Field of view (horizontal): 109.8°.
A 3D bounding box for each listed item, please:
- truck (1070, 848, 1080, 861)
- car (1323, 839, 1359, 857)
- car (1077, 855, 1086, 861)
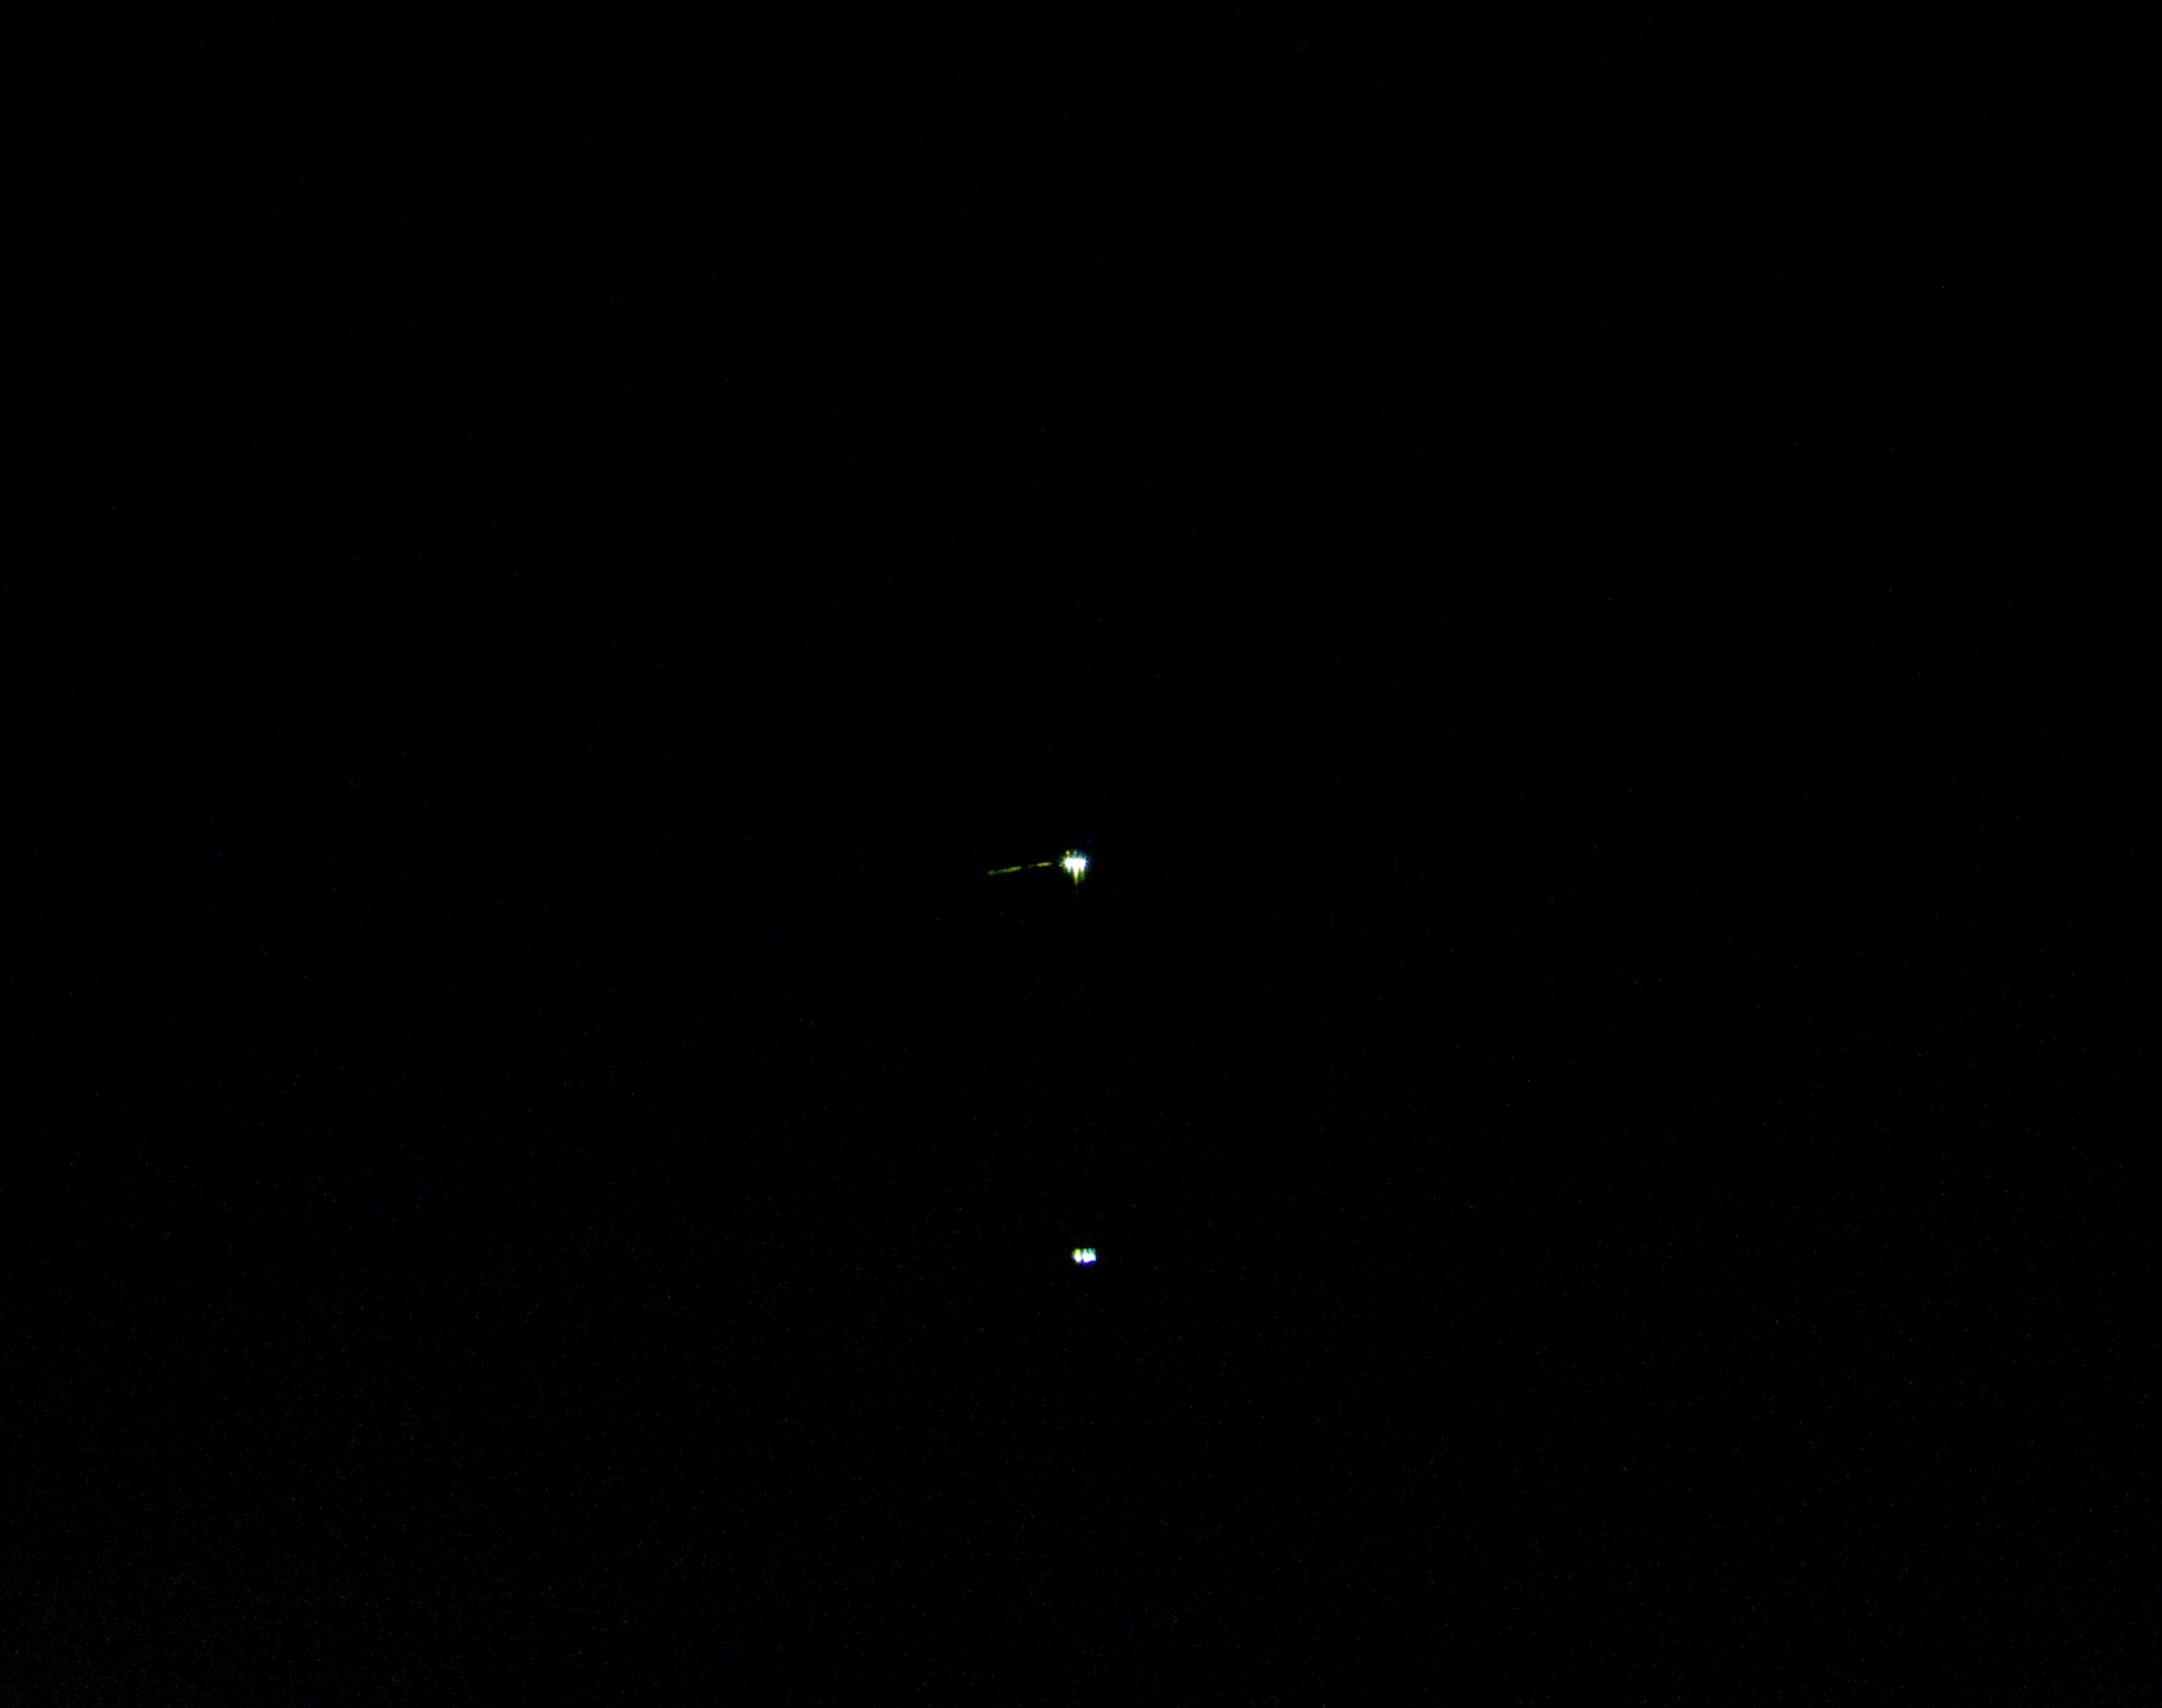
[{"bbox_3d":[-1.842,0.106,236.776,3.004,3.876,12.888,-3,0,-1],"label":"truck"},{"bbox_3d":[23.387,-0.536,68.580,1.901,1.553,4.000,-2,1,1],"label":"car"},{"bbox_3d":[0.200,0.942,177.131,1.846,1.474,4.293,-3,0,1],"label":"car"}]
